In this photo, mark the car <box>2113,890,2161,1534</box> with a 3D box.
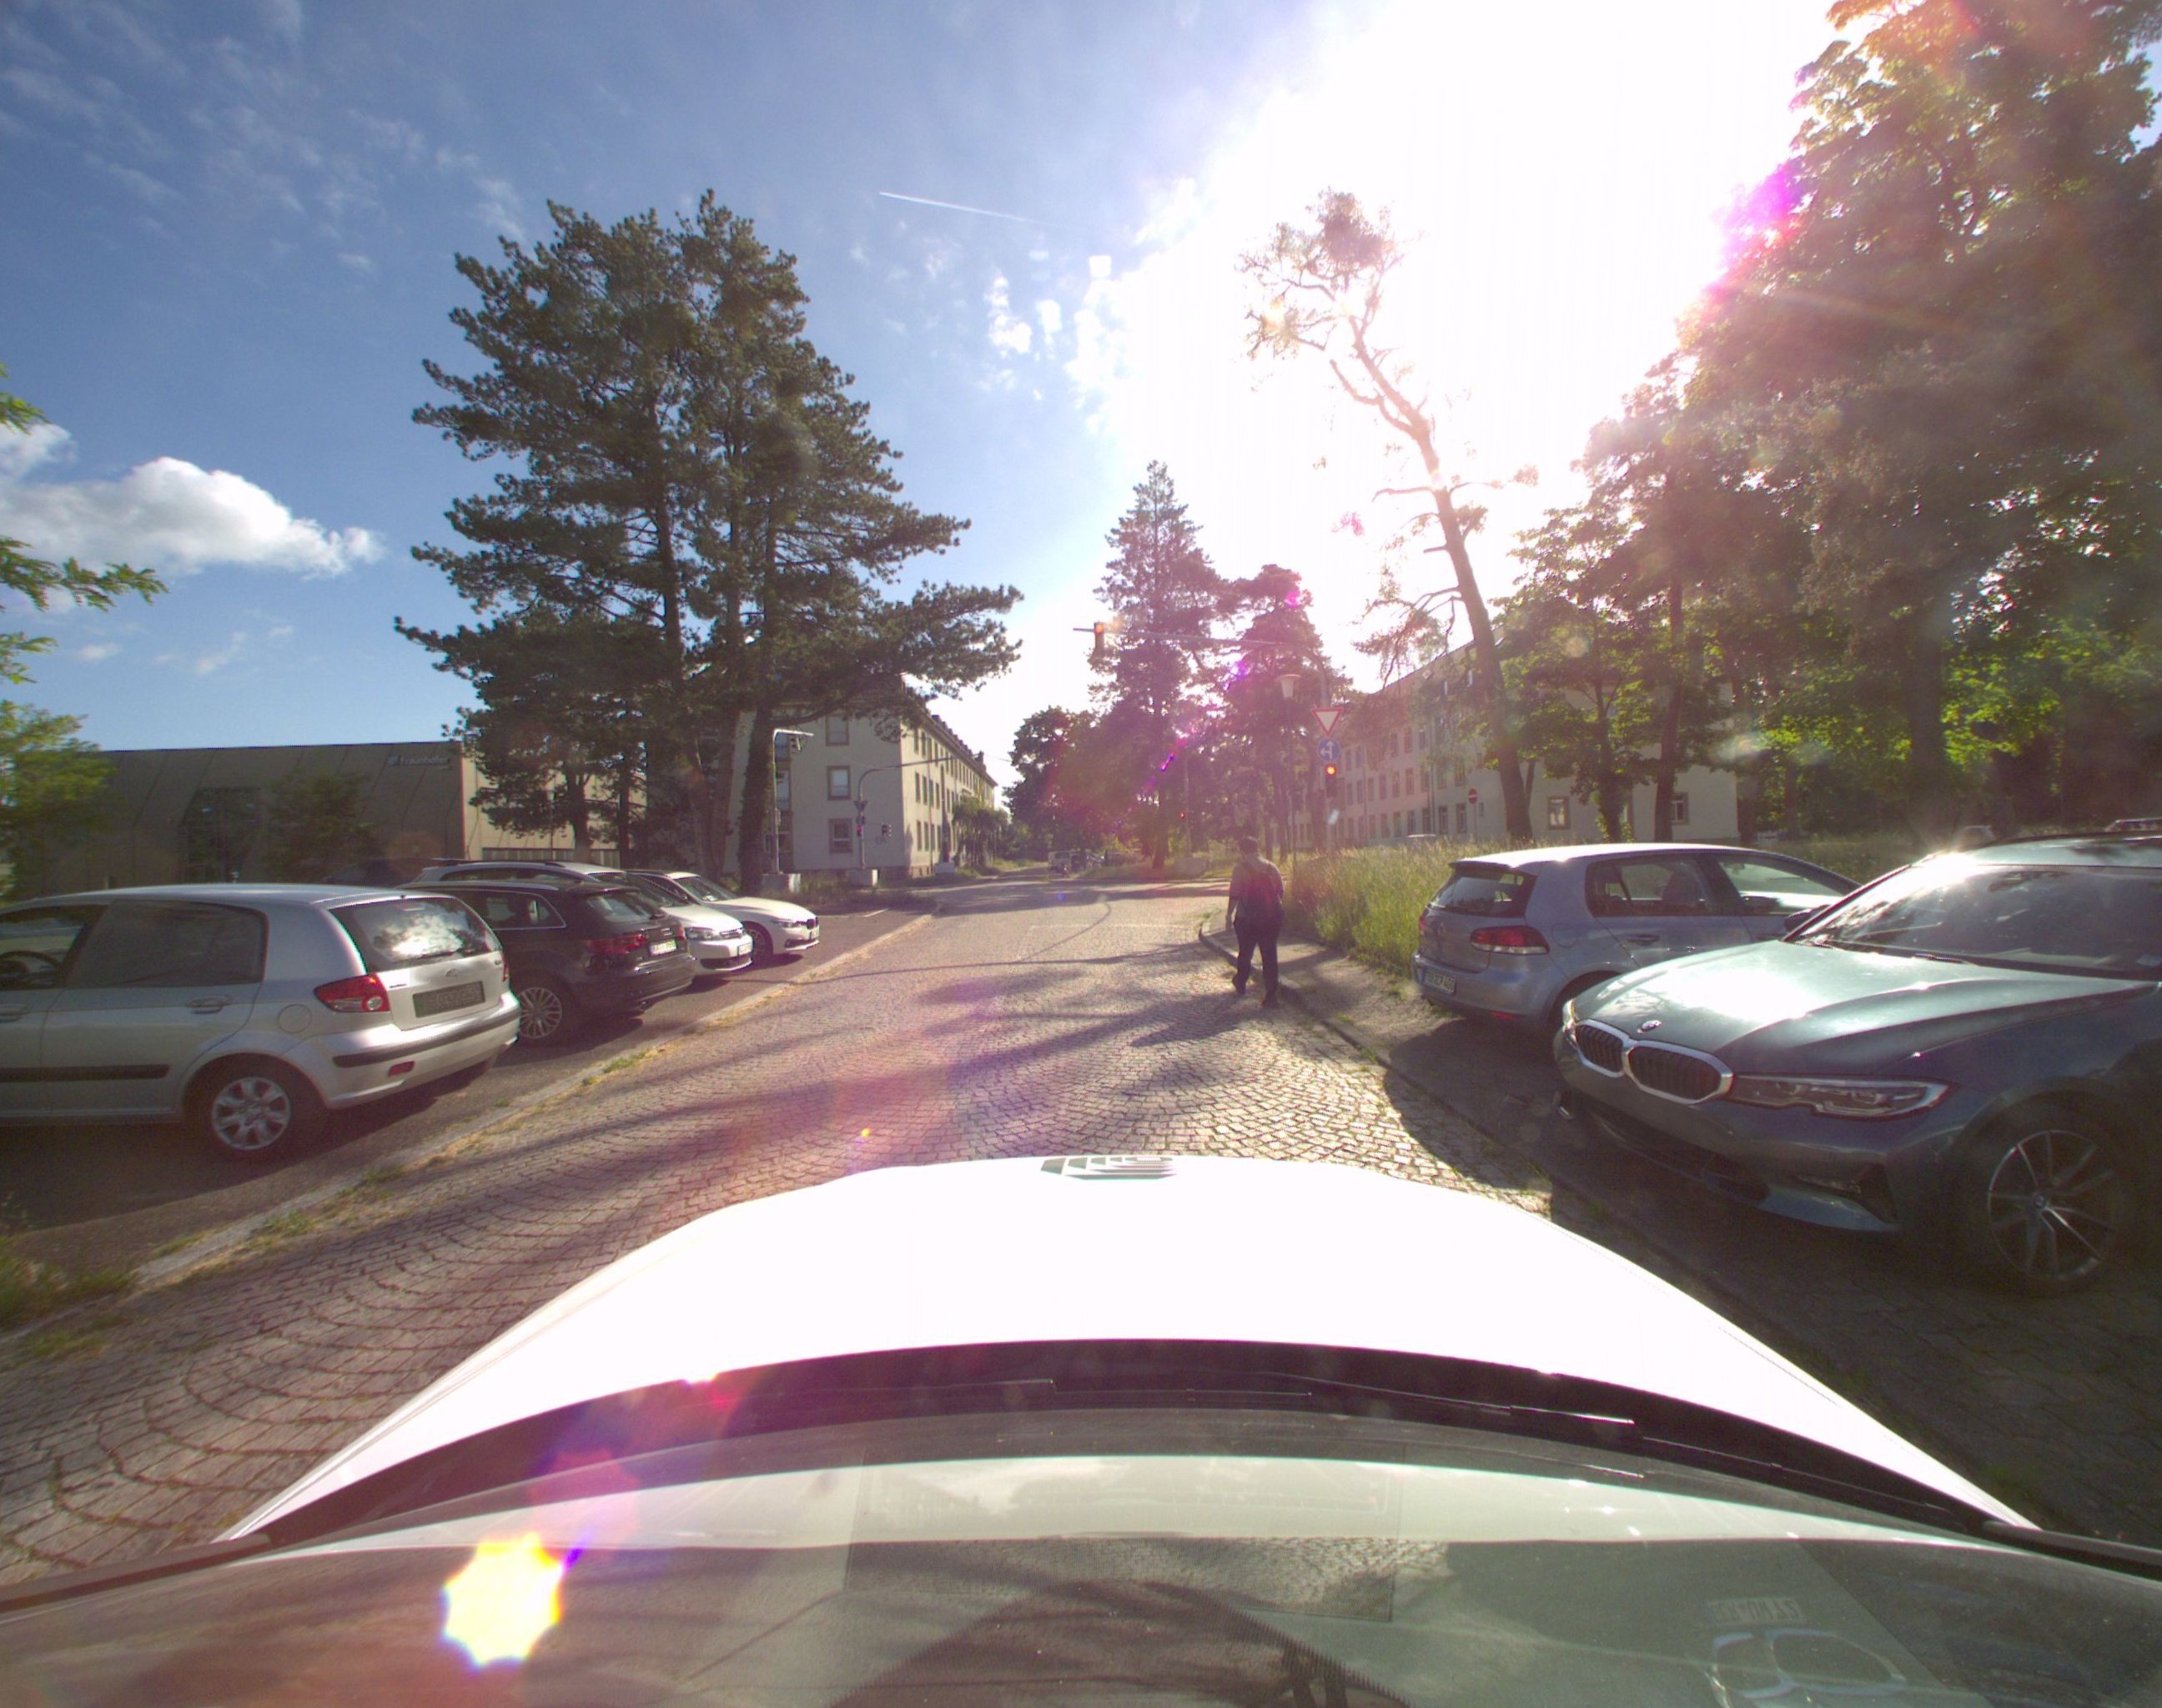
[{"bbox_3d":[4.515,0.651,0.997,4.388,1.388,1.787,-3,0,-3],"label":"car"}]

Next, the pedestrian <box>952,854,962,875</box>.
[{"bbox_3d":[-10.121,0.855,66.592,0.609,1.752,0.625,-2,0,-24],"label":"pedestrian"}]

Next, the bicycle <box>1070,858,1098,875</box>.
[{"bbox_3d":[0.211,0.852,55.105,1.831,1.112,0.494,-2,0,-5],"label":"bicycle"}]

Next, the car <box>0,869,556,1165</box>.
[{"bbox_3d":[-5.754,0.880,5.158,3.678,1.527,1.697,0,0,-4],"label":"car"}]

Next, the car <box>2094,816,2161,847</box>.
[{"bbox_3d":[55.805,-1.187,42.519,3.623,1.497,1.767,-2,0,1],"label":"car"}]

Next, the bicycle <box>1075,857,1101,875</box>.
[{"bbox_3d":[0.492,0.806,56.339,1.724,1.164,0.560,-2,0,-5],"label":"bicycle"}]

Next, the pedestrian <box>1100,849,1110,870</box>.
[{"bbox_3d":[2.117,0.463,71.457,0.759,1.783,0.682,-2,0,-9],"label":"pedestrian"}]

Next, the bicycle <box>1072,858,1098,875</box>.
[{"bbox_3d":[0.269,0.850,55.651,1.724,1.112,0.483,-2,0,-5],"label":"bicycle"}]

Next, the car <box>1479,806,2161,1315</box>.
[{"bbox_3d":[4.582,0.582,3.708,4.610,1.455,1.867,-4,0,-4],"label":"car"}]

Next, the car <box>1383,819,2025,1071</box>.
[{"bbox_3d":[4.504,0.599,6.286,3.663,1.443,1.664,-4,0,-2],"label":"car"}]

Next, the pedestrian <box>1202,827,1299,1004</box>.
[{"bbox_3d":[1.745,0.614,8.492,0.751,1.725,0.828,3,0,-2],"label":"pedestrian"}]

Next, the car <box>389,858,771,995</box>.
[{"bbox_3d":[-6.287,0.874,10.575,3.870,1.615,1.659,0,0,-3],"label":"car"}]

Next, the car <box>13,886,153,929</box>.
[{"bbox_3d":[-49.172,2.582,40.258,1.858,1.778,4.004,-2,0,1],"label":"car"}]

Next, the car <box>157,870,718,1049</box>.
[{"bbox_3d":[-5.850,0.928,7.817,3.928,1.445,1.689,1,0,-3],"label":"car"}]

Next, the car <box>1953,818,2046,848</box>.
[{"bbox_3d":[56.421,-1.288,50.064,3.623,1.671,1.767,-2,0,1],"label":"car"}]

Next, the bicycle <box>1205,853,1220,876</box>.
[{"bbox_3d":[6.993,0.542,43.398,0.717,1.115,2.590,-2,0,9],"label":"bicycle"}]

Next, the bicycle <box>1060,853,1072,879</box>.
[{"bbox_3d":[-0.960,0.736,51.817,0.751,1.580,2.535,-2,0,-2],"label":"bicycle"}]

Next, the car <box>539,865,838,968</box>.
[{"bbox_3d":[-6.216,0.948,13.191,3.970,1.496,1.774,0,0,3],"label":"car"}]

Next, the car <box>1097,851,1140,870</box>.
[{"bbox_3d":[3.504,0.599,77.007,3.742,1.580,1.736,-2,0,-9],"label":"car"}]

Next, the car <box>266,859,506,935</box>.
[{"bbox_3d":[-17.110,1.017,20.215,4.131,1.608,2.009,-2,0,-1],"label":"car"}]

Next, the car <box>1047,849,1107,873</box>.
[{"bbox_3d":[-0.356,0.611,72.988,5.068,1.918,1.993,-2,0,-11],"label":"car"}]

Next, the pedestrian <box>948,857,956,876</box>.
[{"bbox_3d":[-10.932,1.084,68.810,0.606,1.559,0.544,-2,0,-8],"label":"pedestrian"}]
